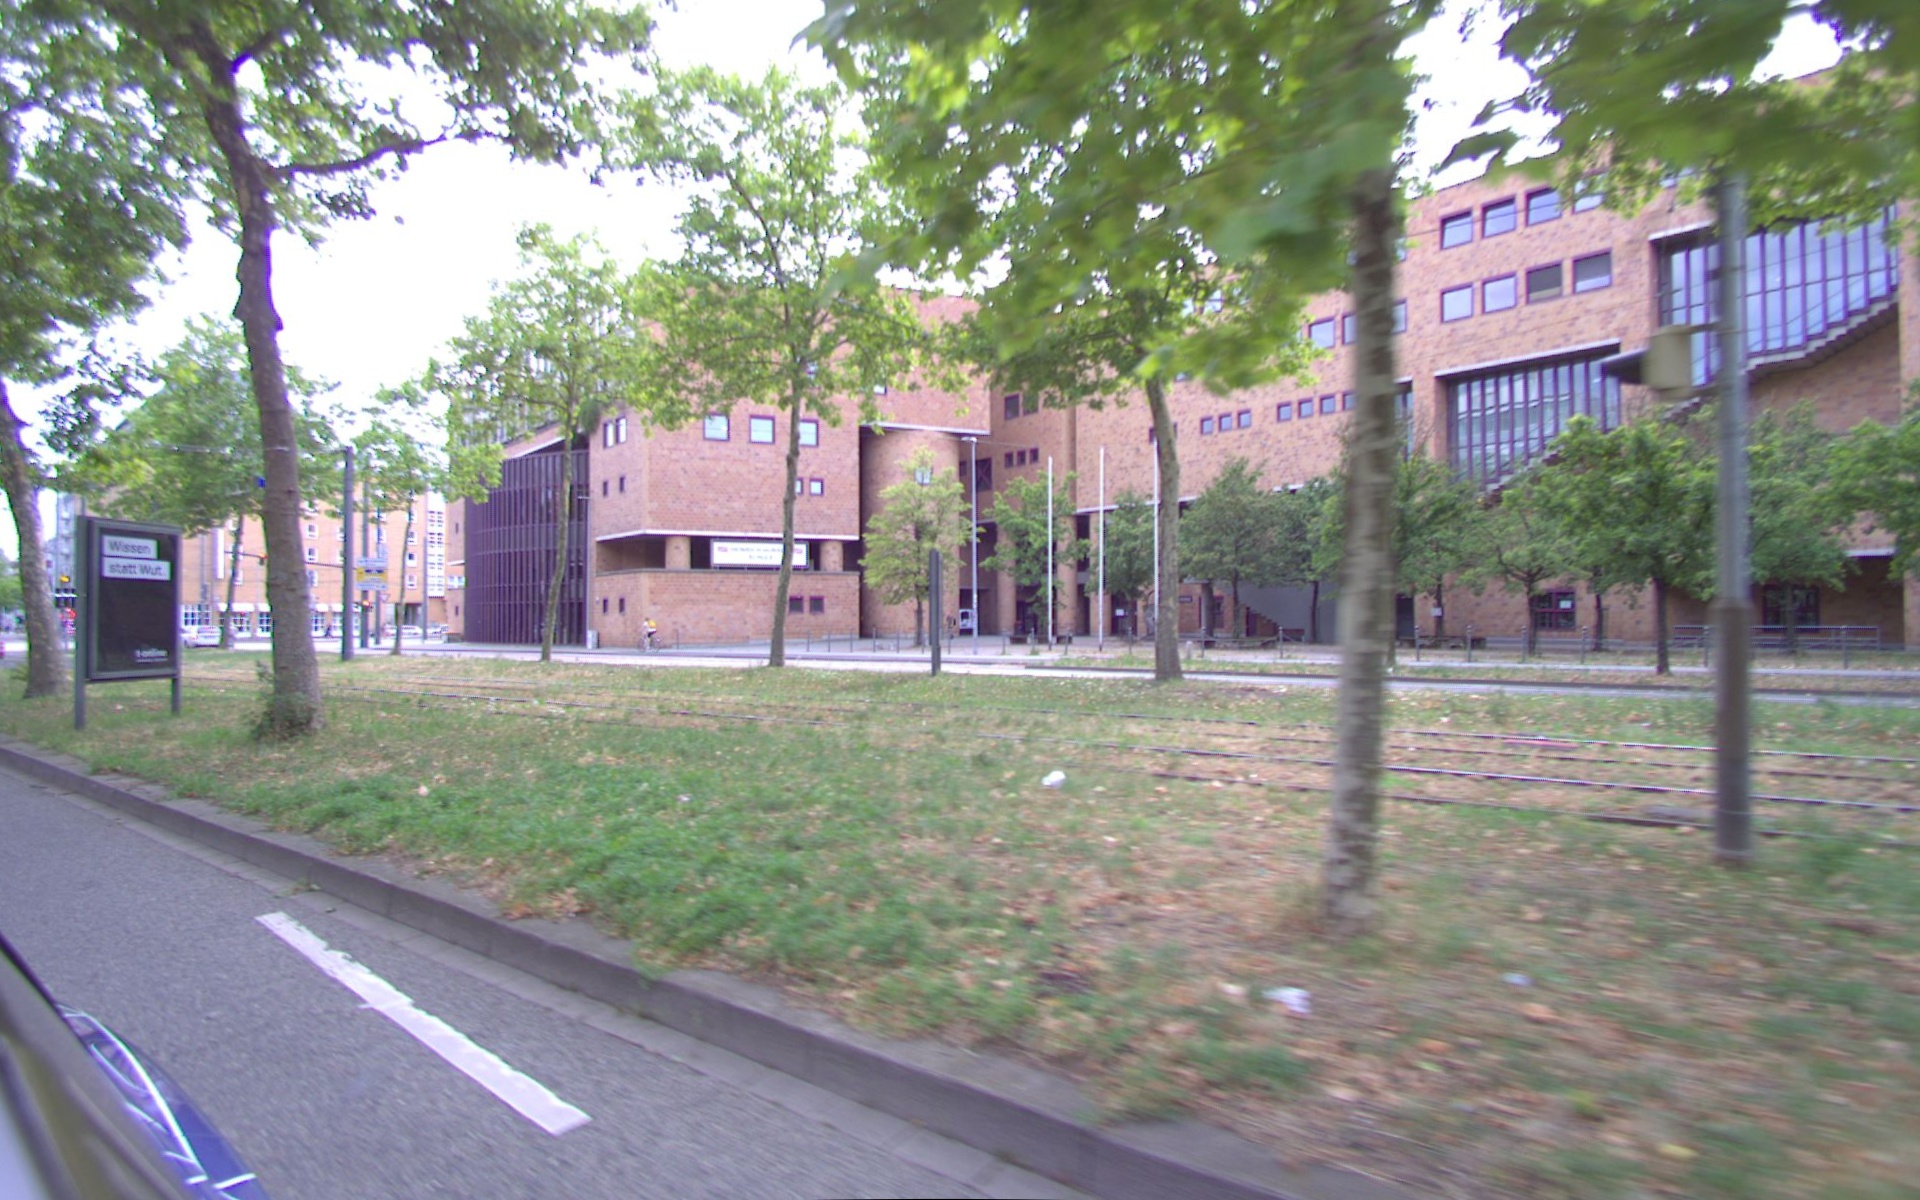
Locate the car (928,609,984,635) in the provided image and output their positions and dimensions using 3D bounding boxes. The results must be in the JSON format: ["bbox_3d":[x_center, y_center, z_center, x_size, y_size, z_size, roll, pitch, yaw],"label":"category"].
[{"bbox_3d":[-0.327,1.588,71.931,1.869,1.821,4.006,1,-2,-41],"label":"car"}]

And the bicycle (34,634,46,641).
[{"bbox_3d":[-114.668,4.667,126.123,1.888,0.943,0.651,-1,-2,34],"label":"bicycle"}]

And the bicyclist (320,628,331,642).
[{"bbox_3d":[-70.817,3.915,112.987,0.635,1.513,0.855,-1,-2,35],"label":"bicyclist"}]

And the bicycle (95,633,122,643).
[{"bbox_3d":[-86.533,3.852,102.888,2.029,1.016,0.640,1,-2,-44],"label":"bicycle"}]

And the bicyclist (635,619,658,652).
[{"bbox_3d":[-15.583,1.767,50.262,0.983,1.603,0.657,-2,-2,41],"label":"bicyclist"}]

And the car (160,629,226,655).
[{"bbox_3d":[-43.568,2.362,57.446,4.650,1.432,1.767,-2,-2,37],"label":"car"}]

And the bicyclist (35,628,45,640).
[{"bbox_3d":[-114.676,4.278,126.140,0.815,1.513,0.644,-1,-2,34],"label":"bicyclist"}]

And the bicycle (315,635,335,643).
[{"bbox_3d":[-70.833,4.361,112.941,0.638,0.787,1.775,-1,-2,35],"label":"bicycle"}]

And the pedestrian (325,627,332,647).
[{"bbox_3d":[-64.561,3.786,103.473,0.516,2.029,0.447,0,-2,-38],"label":"pedestrian"}]

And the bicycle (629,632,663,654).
[{"bbox_3d":[-15.604,2.123,50.273,2.092,1.092,0.661,-2,-2,41],"label":"bicycle"}]

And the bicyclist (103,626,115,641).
[{"bbox_3d":[-86.513,3.375,102.911,0.853,1.513,0.637,1,-2,-44],"label":"bicyclist"}]

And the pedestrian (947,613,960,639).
[{"bbox_3d":[-0.393,1.514,59.247,0.500,1.543,0.521,0,-2,-37],"label":"pedestrian"}]
